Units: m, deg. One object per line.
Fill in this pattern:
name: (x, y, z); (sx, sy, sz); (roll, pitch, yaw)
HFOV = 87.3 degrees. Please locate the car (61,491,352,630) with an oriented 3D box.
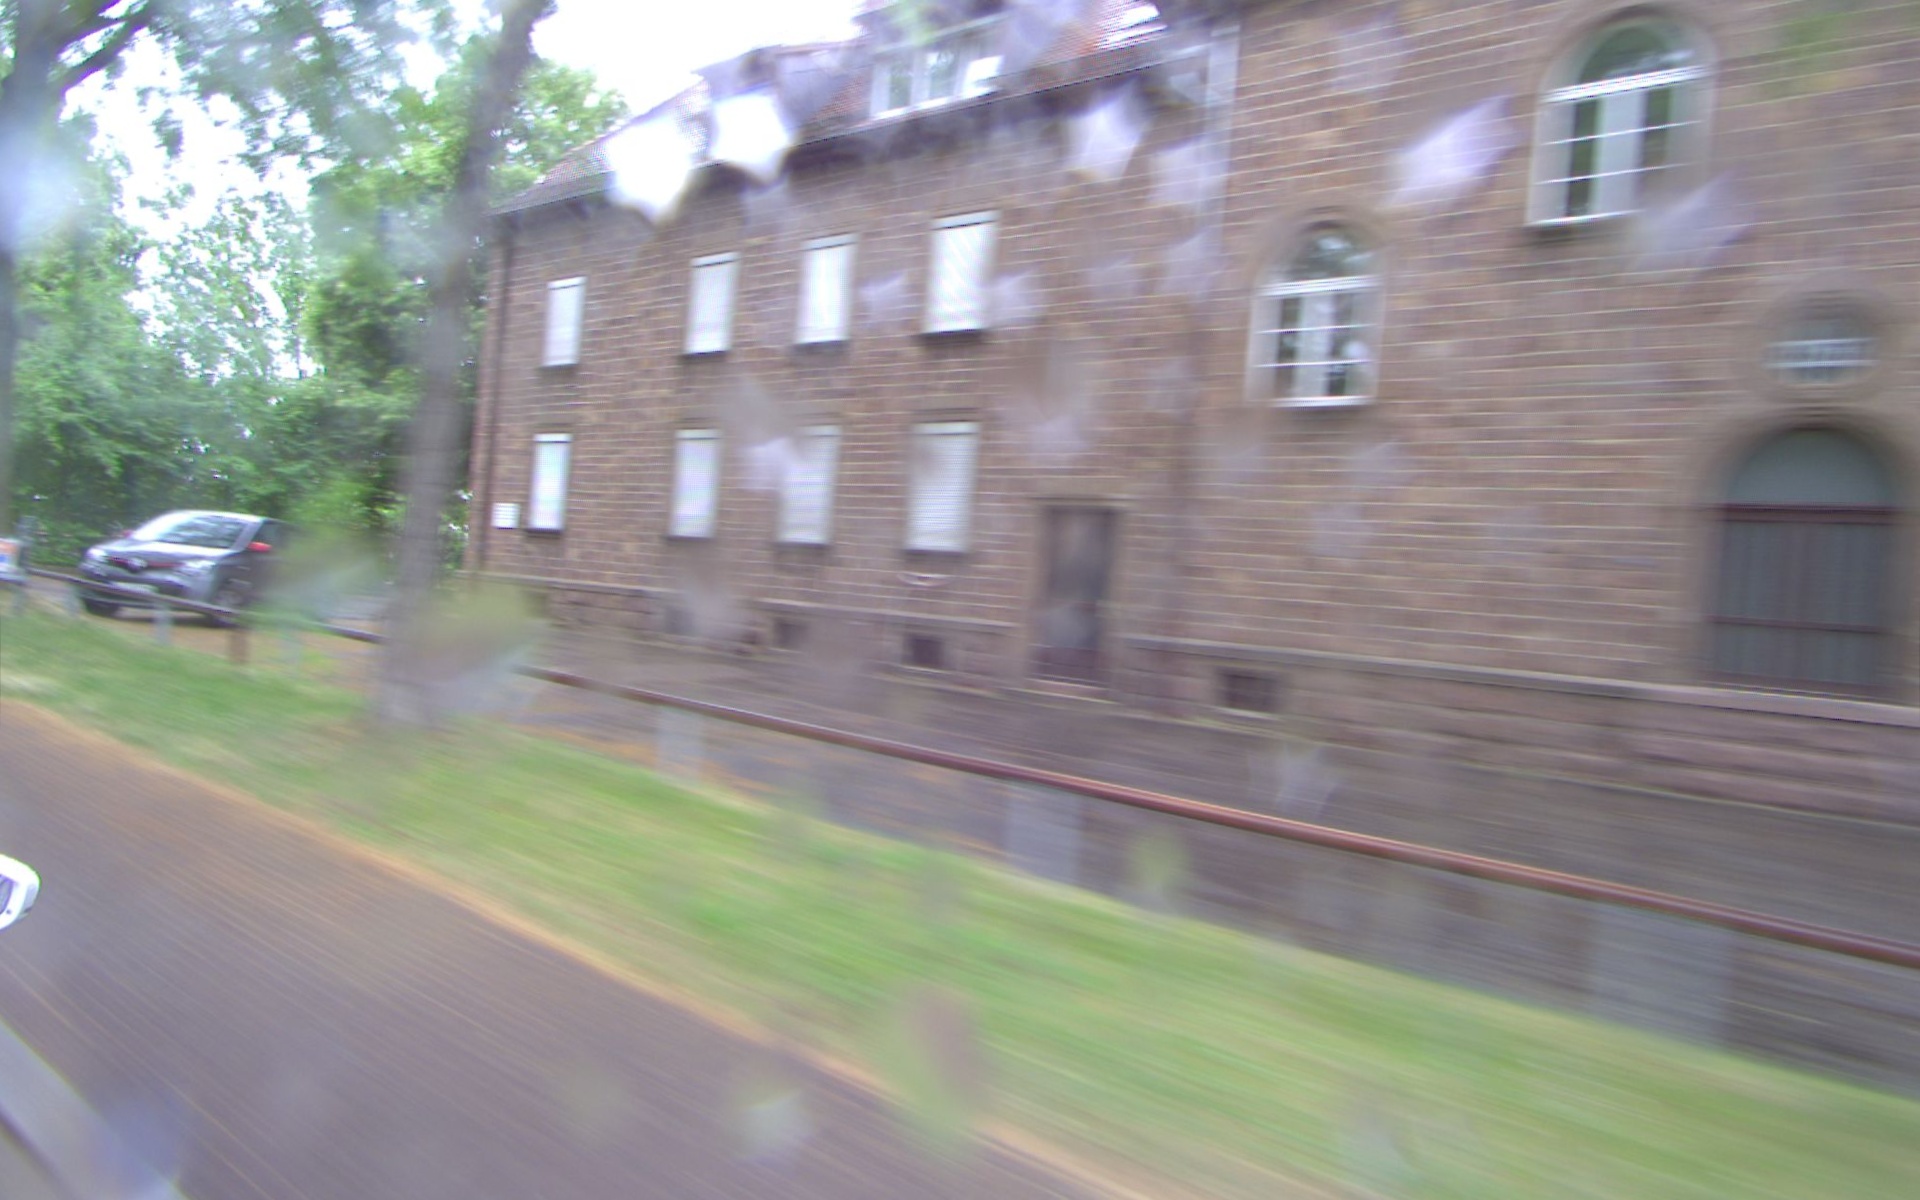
car: (-10.469, -0.481, 14.340); (1.593, 1.570, 3.610); (6, -1, -6)
